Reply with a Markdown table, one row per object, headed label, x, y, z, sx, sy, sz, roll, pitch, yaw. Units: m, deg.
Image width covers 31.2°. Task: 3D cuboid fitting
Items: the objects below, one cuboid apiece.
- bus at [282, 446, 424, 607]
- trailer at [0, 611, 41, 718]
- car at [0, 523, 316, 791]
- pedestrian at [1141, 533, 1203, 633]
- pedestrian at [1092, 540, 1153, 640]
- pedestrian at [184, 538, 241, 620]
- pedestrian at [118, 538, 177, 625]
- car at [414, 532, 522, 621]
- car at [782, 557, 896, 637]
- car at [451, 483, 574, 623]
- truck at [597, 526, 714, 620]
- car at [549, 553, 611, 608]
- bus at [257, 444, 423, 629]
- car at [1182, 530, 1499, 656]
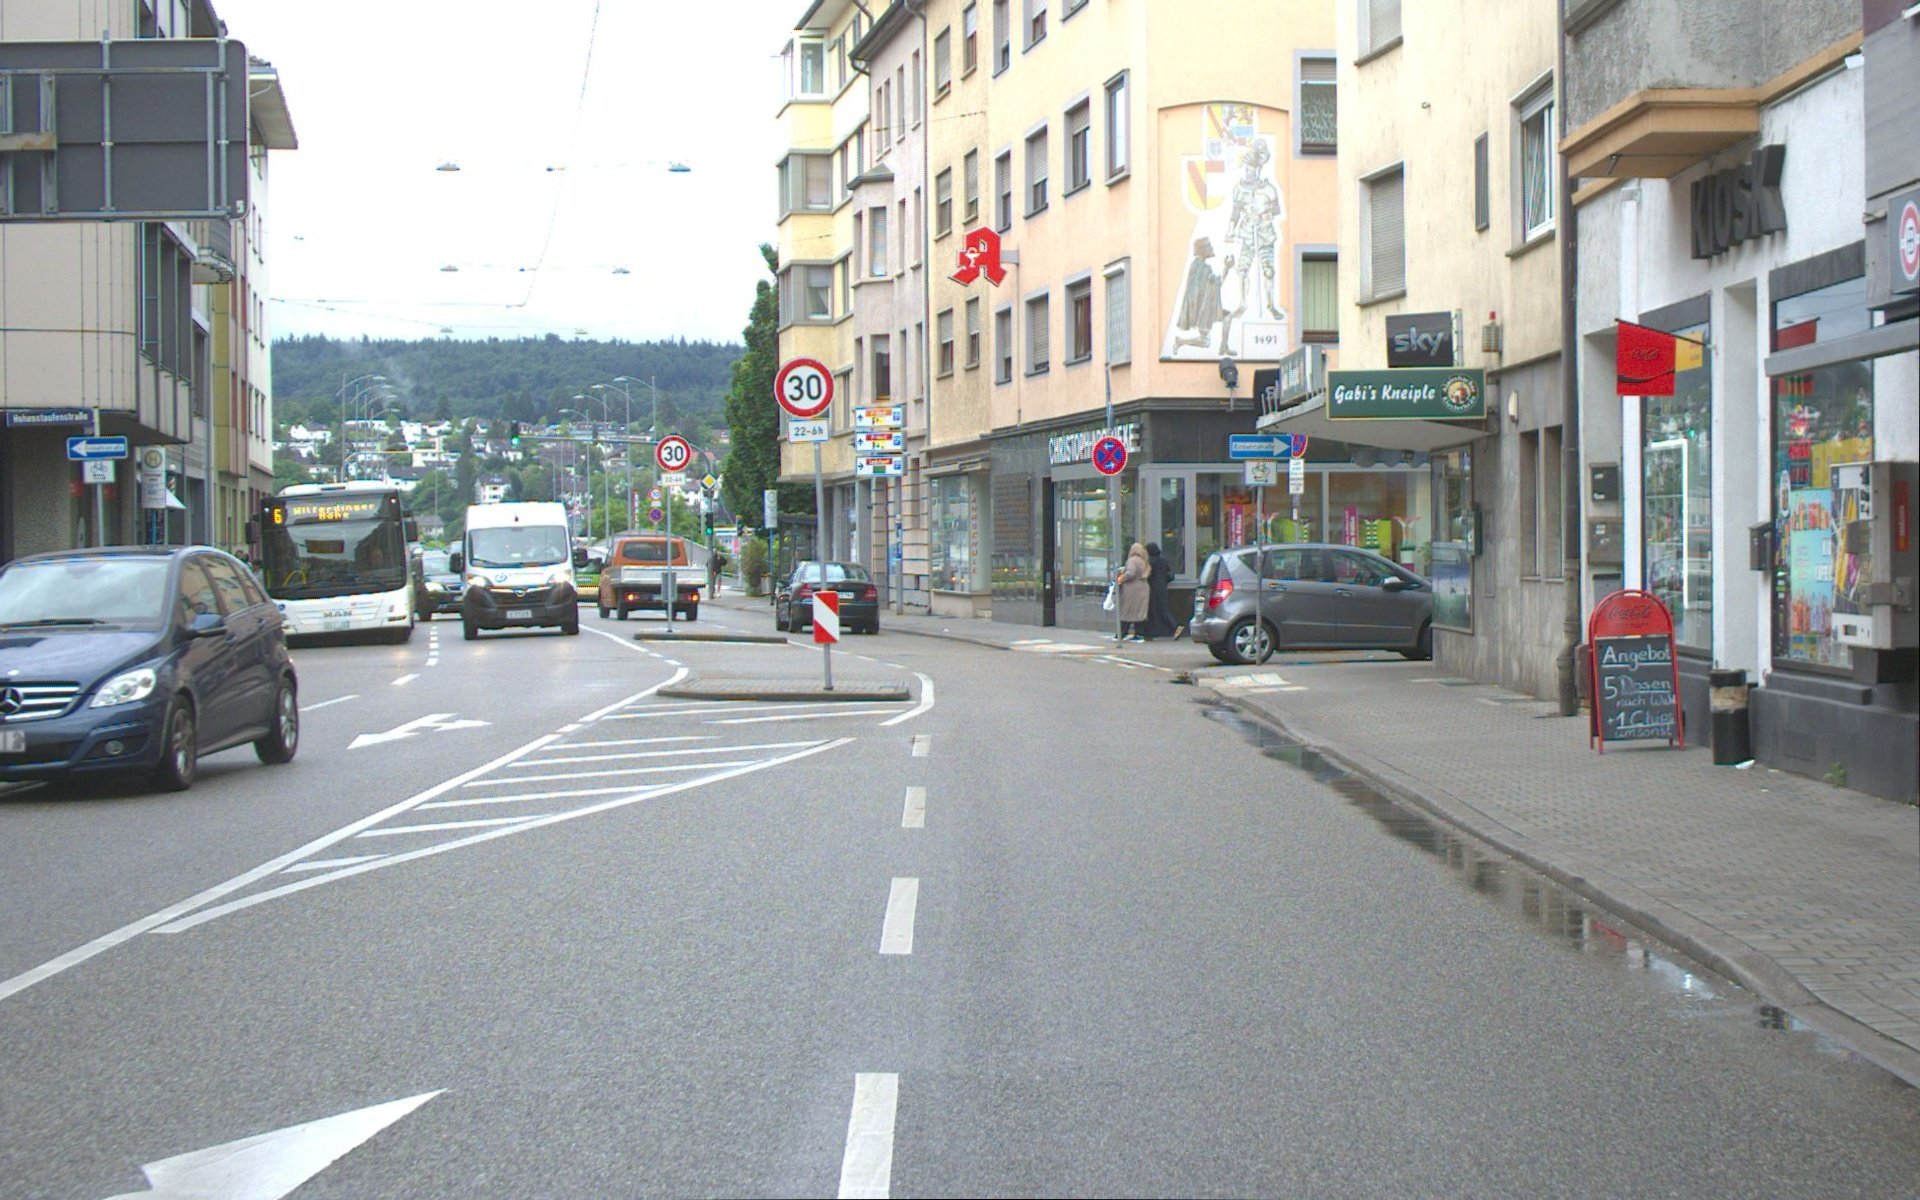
| label | x | y | z | sx | sy | sz | roll | pitch | yaw |
| --- | --- | --- | --- | --- | --- | --- | --- | --- | --- |
| bus | -12.833 | -1.485 | 73.183 | 2.725 | 3.177 | 9.295 | -1 | 0 | -9 |
| trailer | -9.650 | 0.564 | 31.357 | 1.588 | 0.946 | 3.056 | 4 | 1 | 2 |
| car | -5.761 | 0.344 | 23.414 | 1.754 | 1.646 | 4.307 | -1 | 0 | 2 |
| pedestrian | 3.359 | -0.268 | 54.495 | 0.768 | 1.554 | 0.876 | -1 | 0 | -10 |
| pedestrian | 2.560 | -0.157 | 54.122 | 0.778 | 1.554 | 0.783 | -1 | 0 | -10 |
| pedestrian | -15.473 | -0.438 | 71.185 | 0.999 | 1.678 | 1.266 | -1 | 0 | -7 |
| pedestrian | -15.068 | -0.344 | 63.740 | 0.945 | 1.584 | 0.835 | -1 | 0 | -6 |
| car | -12.271 | -0.576 | 85.473 | 2.399 | 2.122 | 5.316 | -1 | 0 | -11 |
| car | -2.368 | -0.060 | 66.436 | 1.754 | 1.474 | 4.001 | -1 | 0 | -9 |
| car | -8.193 | -0.837 | 63.431 | 2.086 | 2.427 | 6.354 | -1 | 0 | -6 |
| truck | -7.253 | -0.632 | 81.405 | 2.399 | 2.122 | 5.316 | -1 | 0 | -9 |
| car | -11.897 | -0.616 | 107.486 | 1.754 | 1.646 | 4.001 | -1 | 0 | -9 |
| bus | -11.458 | -1.128 | 64.151 | 2.758 | 3.177 | 8.914 | -1 | 0 | -9 |
| car | 5.014 | -0.097 | 45.604 | 3.824 | 1.568 | 1.937 | -1 | 0 | -6 |
